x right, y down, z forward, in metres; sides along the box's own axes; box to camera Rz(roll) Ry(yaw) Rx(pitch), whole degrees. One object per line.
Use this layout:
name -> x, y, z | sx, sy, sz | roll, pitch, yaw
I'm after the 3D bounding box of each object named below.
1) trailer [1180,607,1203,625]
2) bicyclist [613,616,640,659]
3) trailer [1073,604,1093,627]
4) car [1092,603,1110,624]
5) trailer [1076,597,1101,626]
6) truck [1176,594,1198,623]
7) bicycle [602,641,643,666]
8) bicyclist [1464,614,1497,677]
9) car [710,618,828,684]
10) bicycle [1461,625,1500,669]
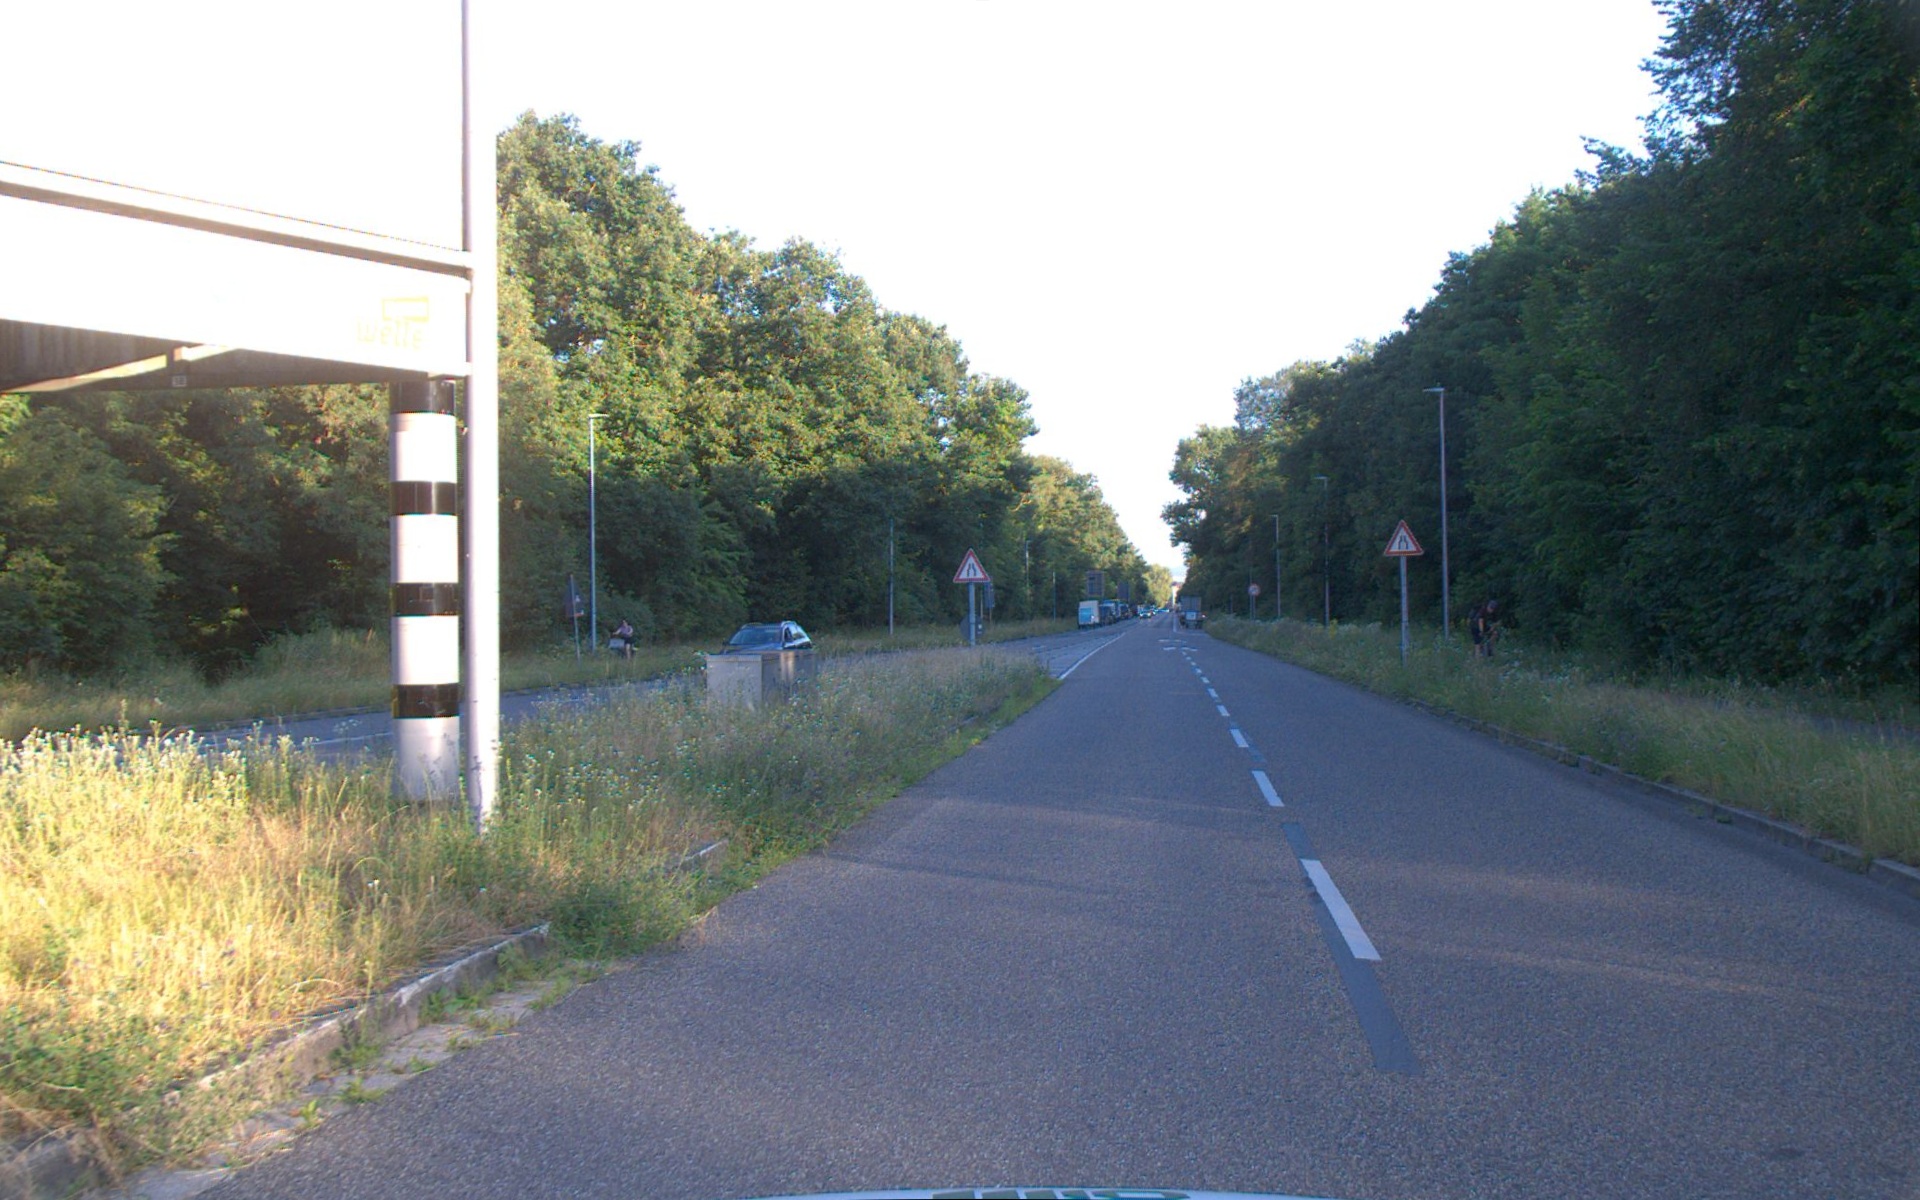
trailer -> 22.726, 1.604, 162.050 | 1.426, 1.691, 3.777 | -2, -1, 20
bicyclist -> -11.460, 1.295, 56.841 | 0.573, 1.454, 0.823 | -1, 0, 14
trailer -> 12.201, 1.545, 163.700 | 1.779, 2.205, 4.145 | -2, -1, 6
car -> 17.429, 1.669, 204.348 | 1.951, 2.405, 5.770 | -3, -1, 7
trailer -> 13.941, 1.288, 179.231 | 2.276, 2.975, 5.631 | -3, -1, 6
truck -> 26.683, 0.964, 194.319 | 2.533, 3.312, 7.226 | 0, -1, 9
bicycle -> -11.558, 1.829, 56.693 | 0.573, 0.818, 1.960 | -1, 0, 14
bicyclist -> 12.451, 1.074, 39.565 | 0.590, 1.481, 0.780 | -1, -1, 8
car -> -4.961, 1.302, 43.628 | 1.780, 1.560, 4.459 | -3, -1, 11
bicycle -> 12.445, 1.123, 39.598 | 0.598, 1.013, 1.692 | -1, -1, 8
